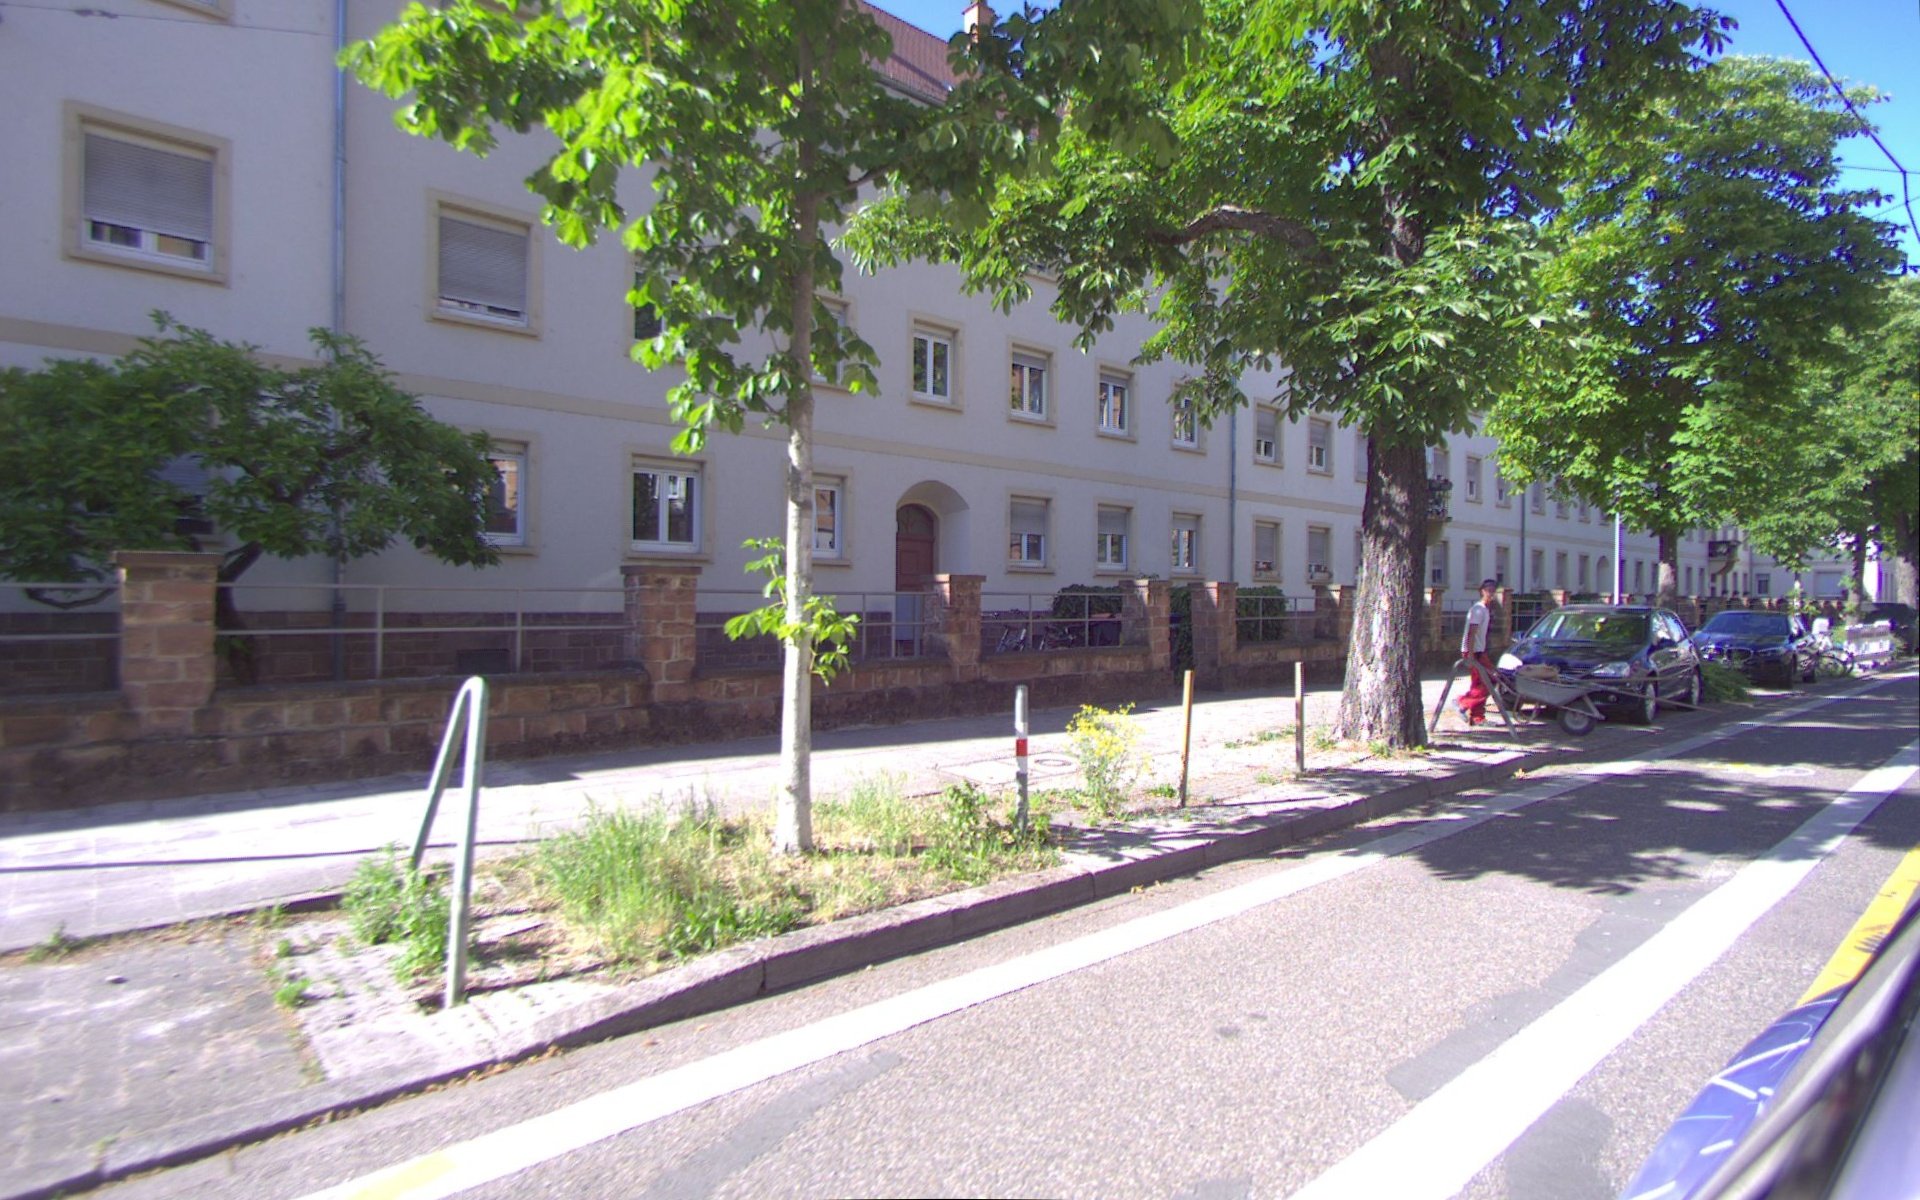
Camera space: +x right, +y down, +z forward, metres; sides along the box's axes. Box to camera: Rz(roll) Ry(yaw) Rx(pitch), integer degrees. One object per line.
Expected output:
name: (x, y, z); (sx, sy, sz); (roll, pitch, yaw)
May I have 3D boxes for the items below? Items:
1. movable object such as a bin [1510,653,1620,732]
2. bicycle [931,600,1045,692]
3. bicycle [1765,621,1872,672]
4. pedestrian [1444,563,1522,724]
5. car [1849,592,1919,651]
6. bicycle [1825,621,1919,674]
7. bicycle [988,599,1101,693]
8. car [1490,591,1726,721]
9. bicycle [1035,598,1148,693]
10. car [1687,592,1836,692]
movable object such as a bin: (6.898, 1.044, 11.587); (0.912, 0.752, 0.663); (3, 2, 19)
bicycle: (0.425, 0.626, 14.470); (1.711, 1.236, 0.544); (0, 1, -41)
bicycle: (19.208, 1.019, 22.677); (0.426, 1.092, 1.765); (0, -2, -39)
pedestrian: (6.131, 0.480, 11.904); (0.593, 1.792, 0.908); (3, 2, 18)
car: (30.269, 0.659, 32.738); (4.401, 1.789, 1.746); (0, -1, -42)
bicycle: (19.587, 0.996, 21.513); (0.426, 1.092, 1.765); (0, -2, -39)
bicycle: (1.207, 0.610, 14.182); (1.711, 1.236, 0.544); (0, 1, -41)
car: (8.999, 0.652, 13.913); (4.174, 1.492, 1.722); (0, 1, -43)
bicycle: (1.838, 0.599, 14.010); (1.711, 1.236, 0.544); (0, 1, -41)
car: (15.960, 0.753, 20.088); (4.159, 1.783, 1.667); (0, 0, -42)
